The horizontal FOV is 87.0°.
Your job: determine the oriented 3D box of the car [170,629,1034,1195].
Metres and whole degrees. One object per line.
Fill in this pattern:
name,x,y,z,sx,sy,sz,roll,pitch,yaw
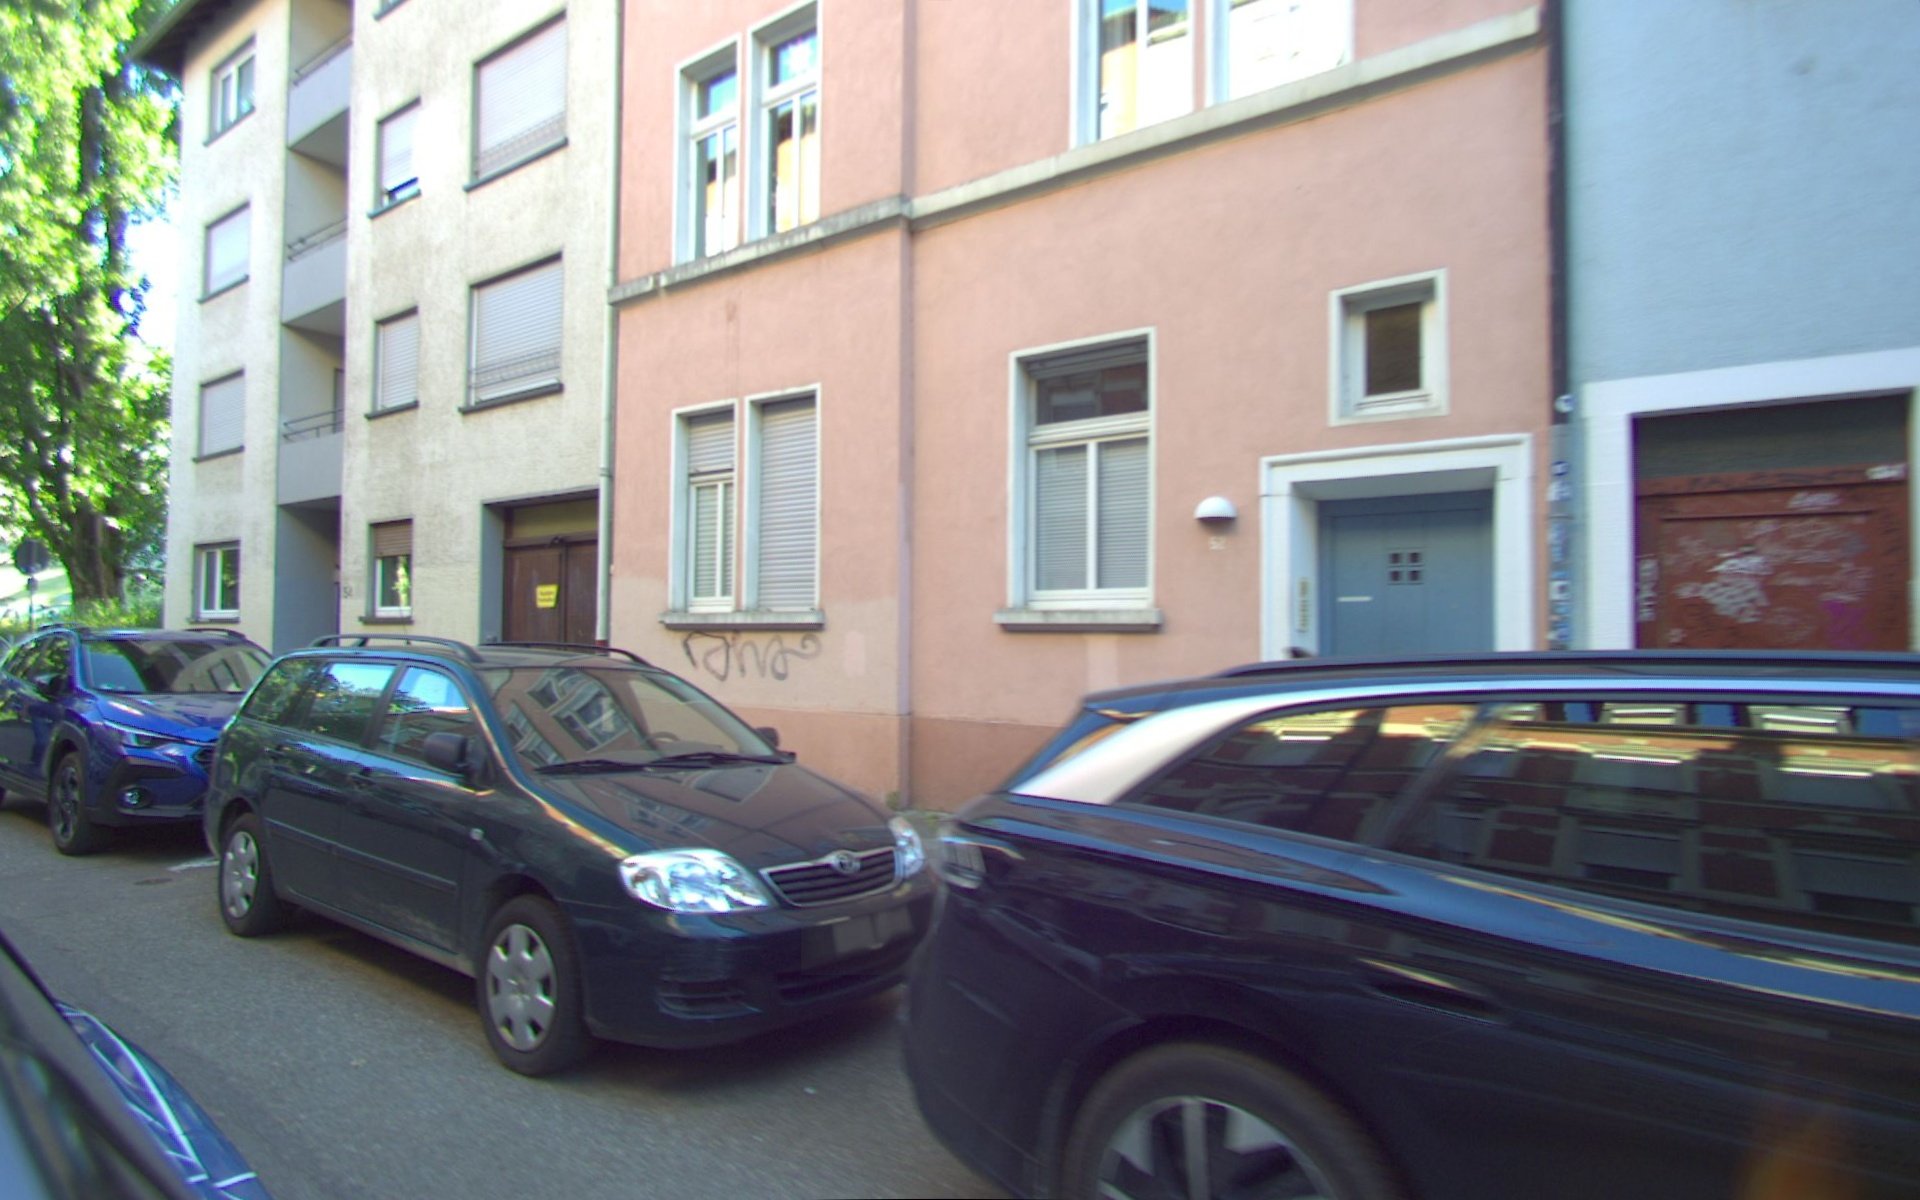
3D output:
car,-1.957,0.927,4.788,4.406,1.523,1.659,-1,-3,37

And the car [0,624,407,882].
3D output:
car,-6.471,1.008,8.090,4.365,1.551,1.715,-1,-4,34

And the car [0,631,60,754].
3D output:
car,-13.974,1.180,13.716,3.858,1.551,1.661,-1,-4,34

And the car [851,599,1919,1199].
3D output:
car,2.083,0.776,1.832,4.598,1.488,1.660,-1,-3,36
